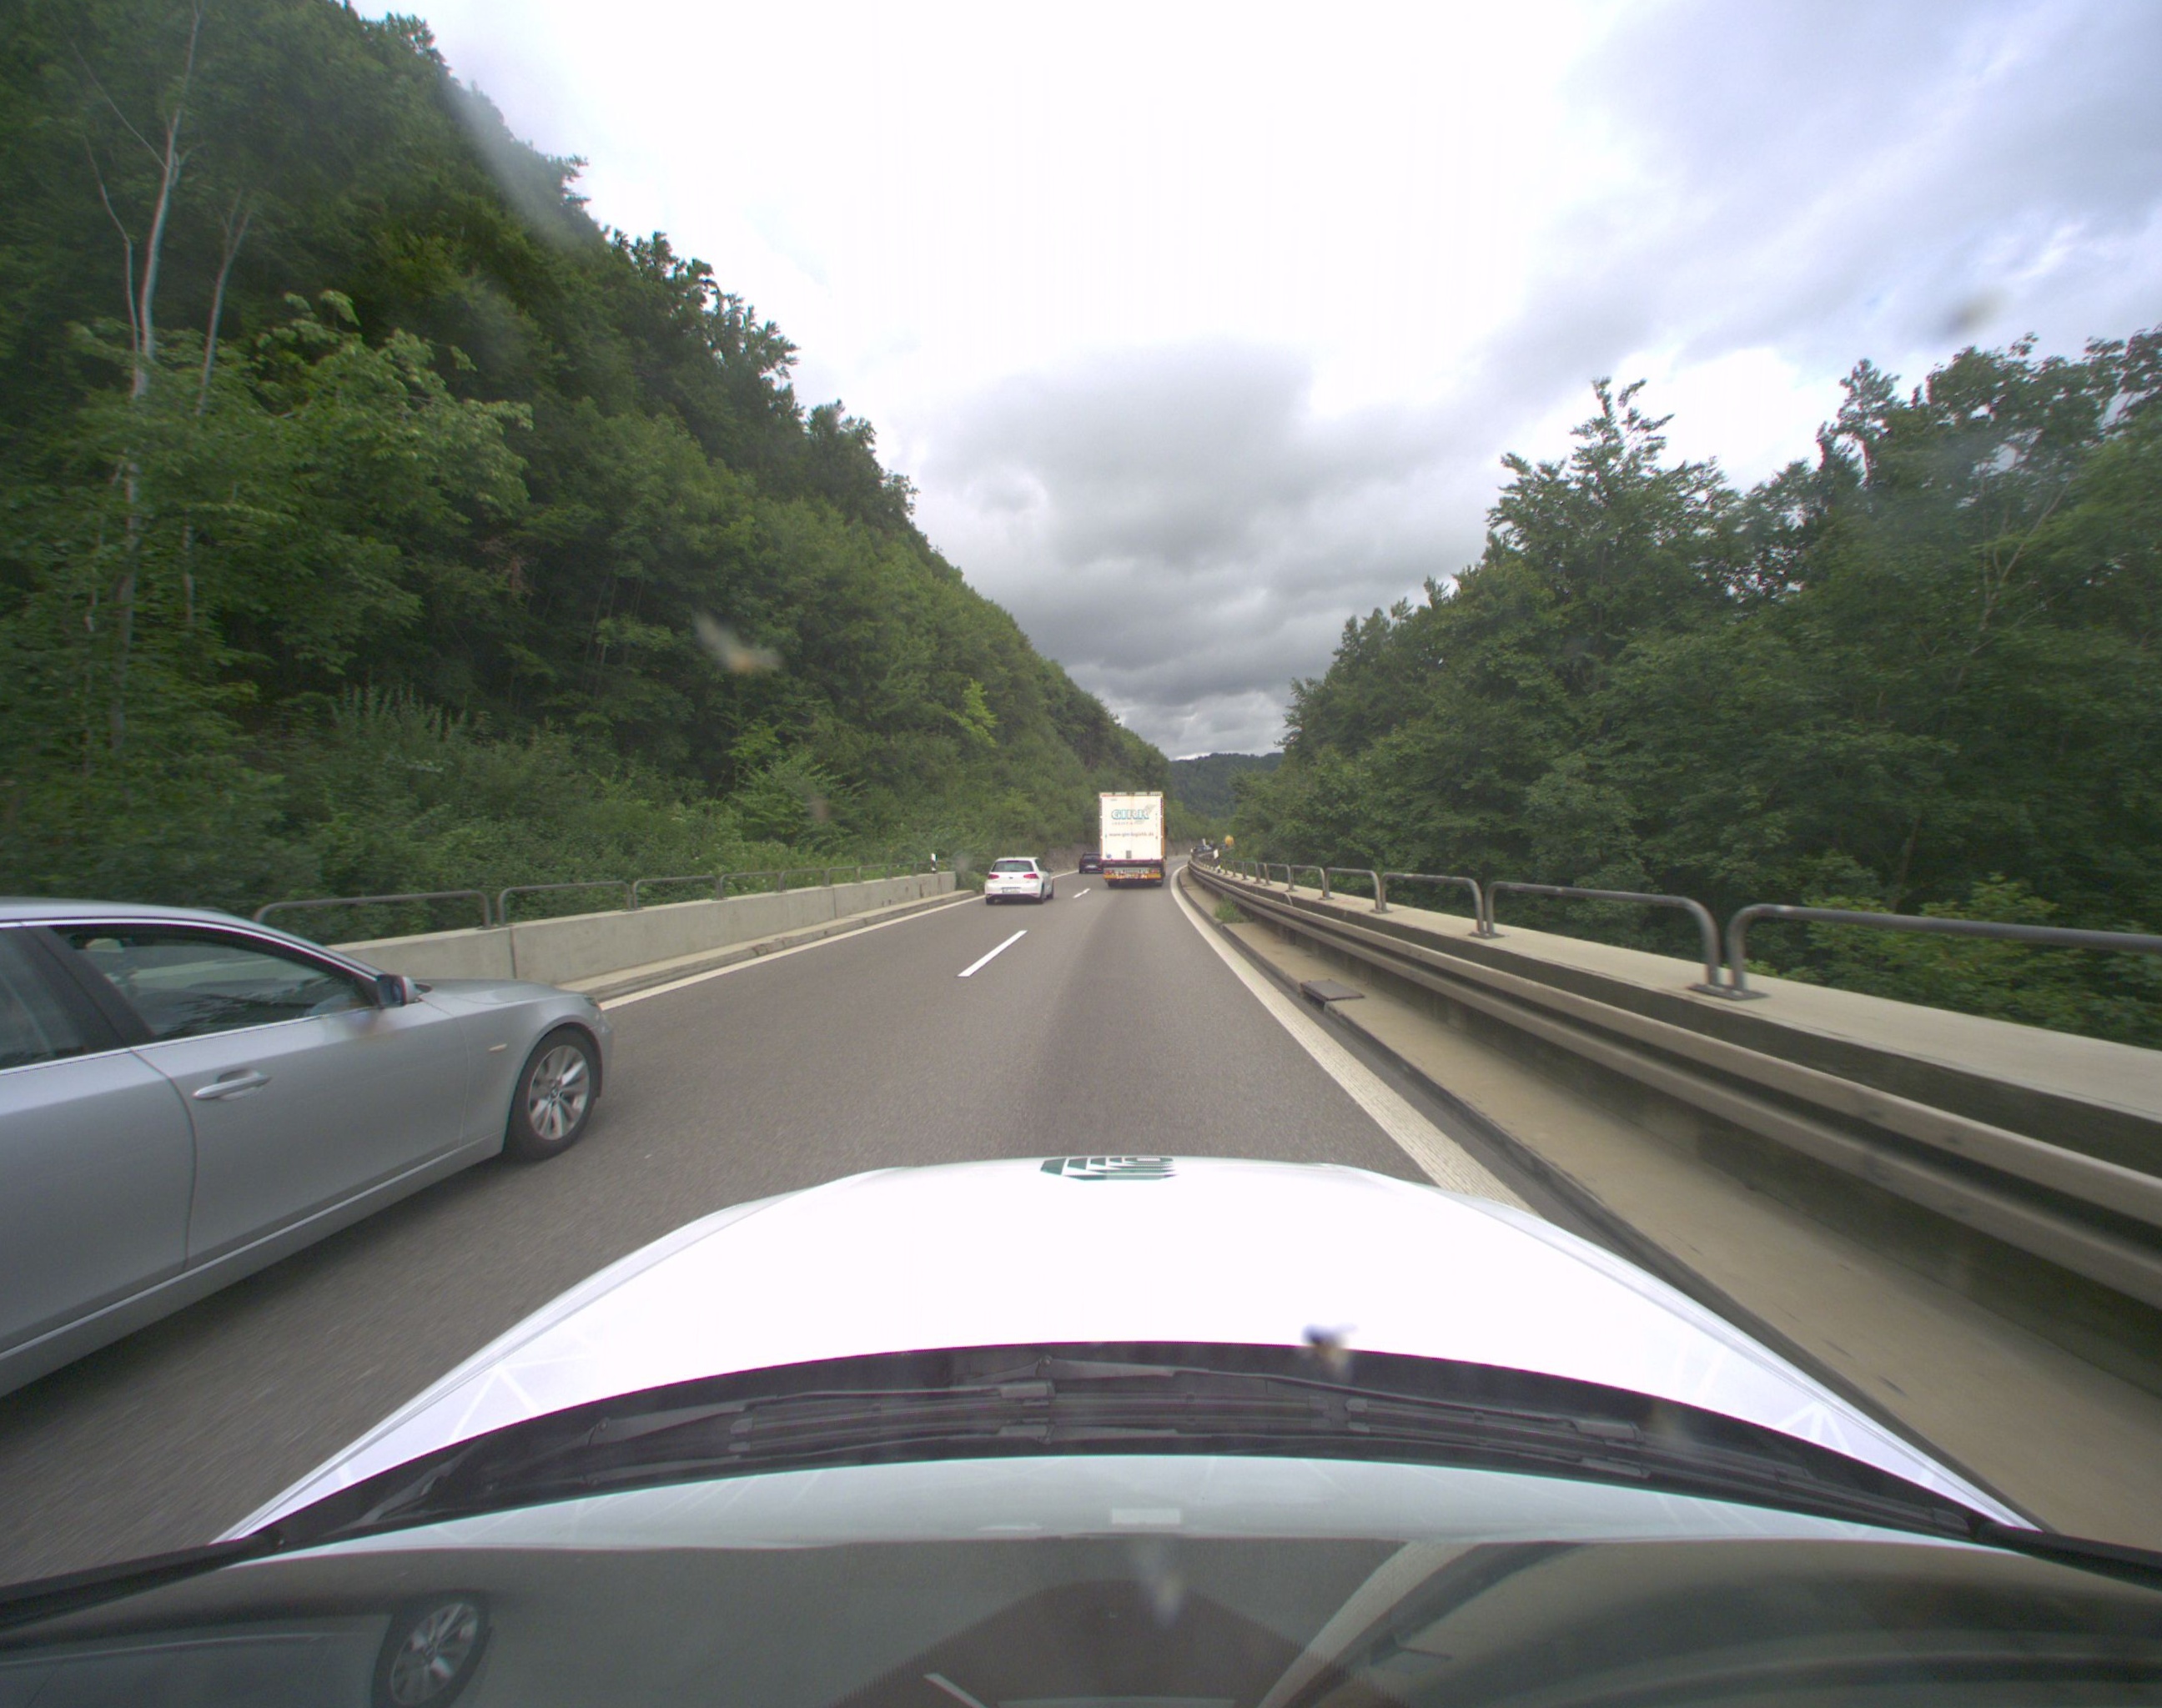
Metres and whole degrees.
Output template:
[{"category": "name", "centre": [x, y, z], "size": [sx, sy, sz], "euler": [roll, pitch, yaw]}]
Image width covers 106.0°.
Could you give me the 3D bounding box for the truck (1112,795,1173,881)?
[{"category": "truck", "centre": [3.514, -0.781, 45.086], "size": [2.798, 4.302, 6.271], "euler": [-3, -1, 7]}]

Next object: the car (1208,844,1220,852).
[{"category": "car", "centre": [30.494, -1.270, 186.549], "size": [1.977, 1.783, 4.019], "euler": [-1, 0, 18]}]

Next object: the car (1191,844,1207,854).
[{"category": "car", "centre": [20.238, -0.782, 139.704], "size": [1.977, 1.565, 4.019], "euler": [-3, -2, 18]}]

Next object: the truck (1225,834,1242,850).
[{"category": "truck", "centre": [39.025, -3.008, 207.911], "size": [2.485, 3.858, 8.179], "euler": [-3, -2, 22]}]

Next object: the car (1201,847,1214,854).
[{"category": "car", "centre": [26.381, -0.733, 169.359], "size": [1.977, 1.486, 4.019], "euler": [-1, 0, 18]}]

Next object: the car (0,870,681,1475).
[{"category": "car", "centre": [-3.592, 0.837, 2.765], "size": [1.821, 1.457, 5.136], "euler": [-1, 0, 1]}]

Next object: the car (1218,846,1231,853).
[{"category": "car", "centre": [29.118, -0.895, 165.161], "size": [1.978, 1.486, 4.018], "euler": [-1, 0, 18]}]

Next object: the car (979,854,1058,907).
[{"category": "car", "centre": [-1.903, 0.774, 26.192], "size": [1.836, 1.482, 4.633], "euler": [-1, 0, 4]}]

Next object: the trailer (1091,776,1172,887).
[{"category": "trailer", "centre": [2.688, -0.837, 38.671], "size": [2.798, 4.302, 12.269], "euler": [-3, -1, 7]}]

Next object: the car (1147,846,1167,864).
[{"category": "car", "centre": [9.243, 0.152, 98.824], "size": [1.981, 2.014, 4.010], "euler": [-2, -1, 10]}]

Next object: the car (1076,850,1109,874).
[{"category": "car", "centre": [0.828, 0.534, 54.247], "size": [1.764, 1.461, 4.588], "euler": [-2, -1, 6]}]
